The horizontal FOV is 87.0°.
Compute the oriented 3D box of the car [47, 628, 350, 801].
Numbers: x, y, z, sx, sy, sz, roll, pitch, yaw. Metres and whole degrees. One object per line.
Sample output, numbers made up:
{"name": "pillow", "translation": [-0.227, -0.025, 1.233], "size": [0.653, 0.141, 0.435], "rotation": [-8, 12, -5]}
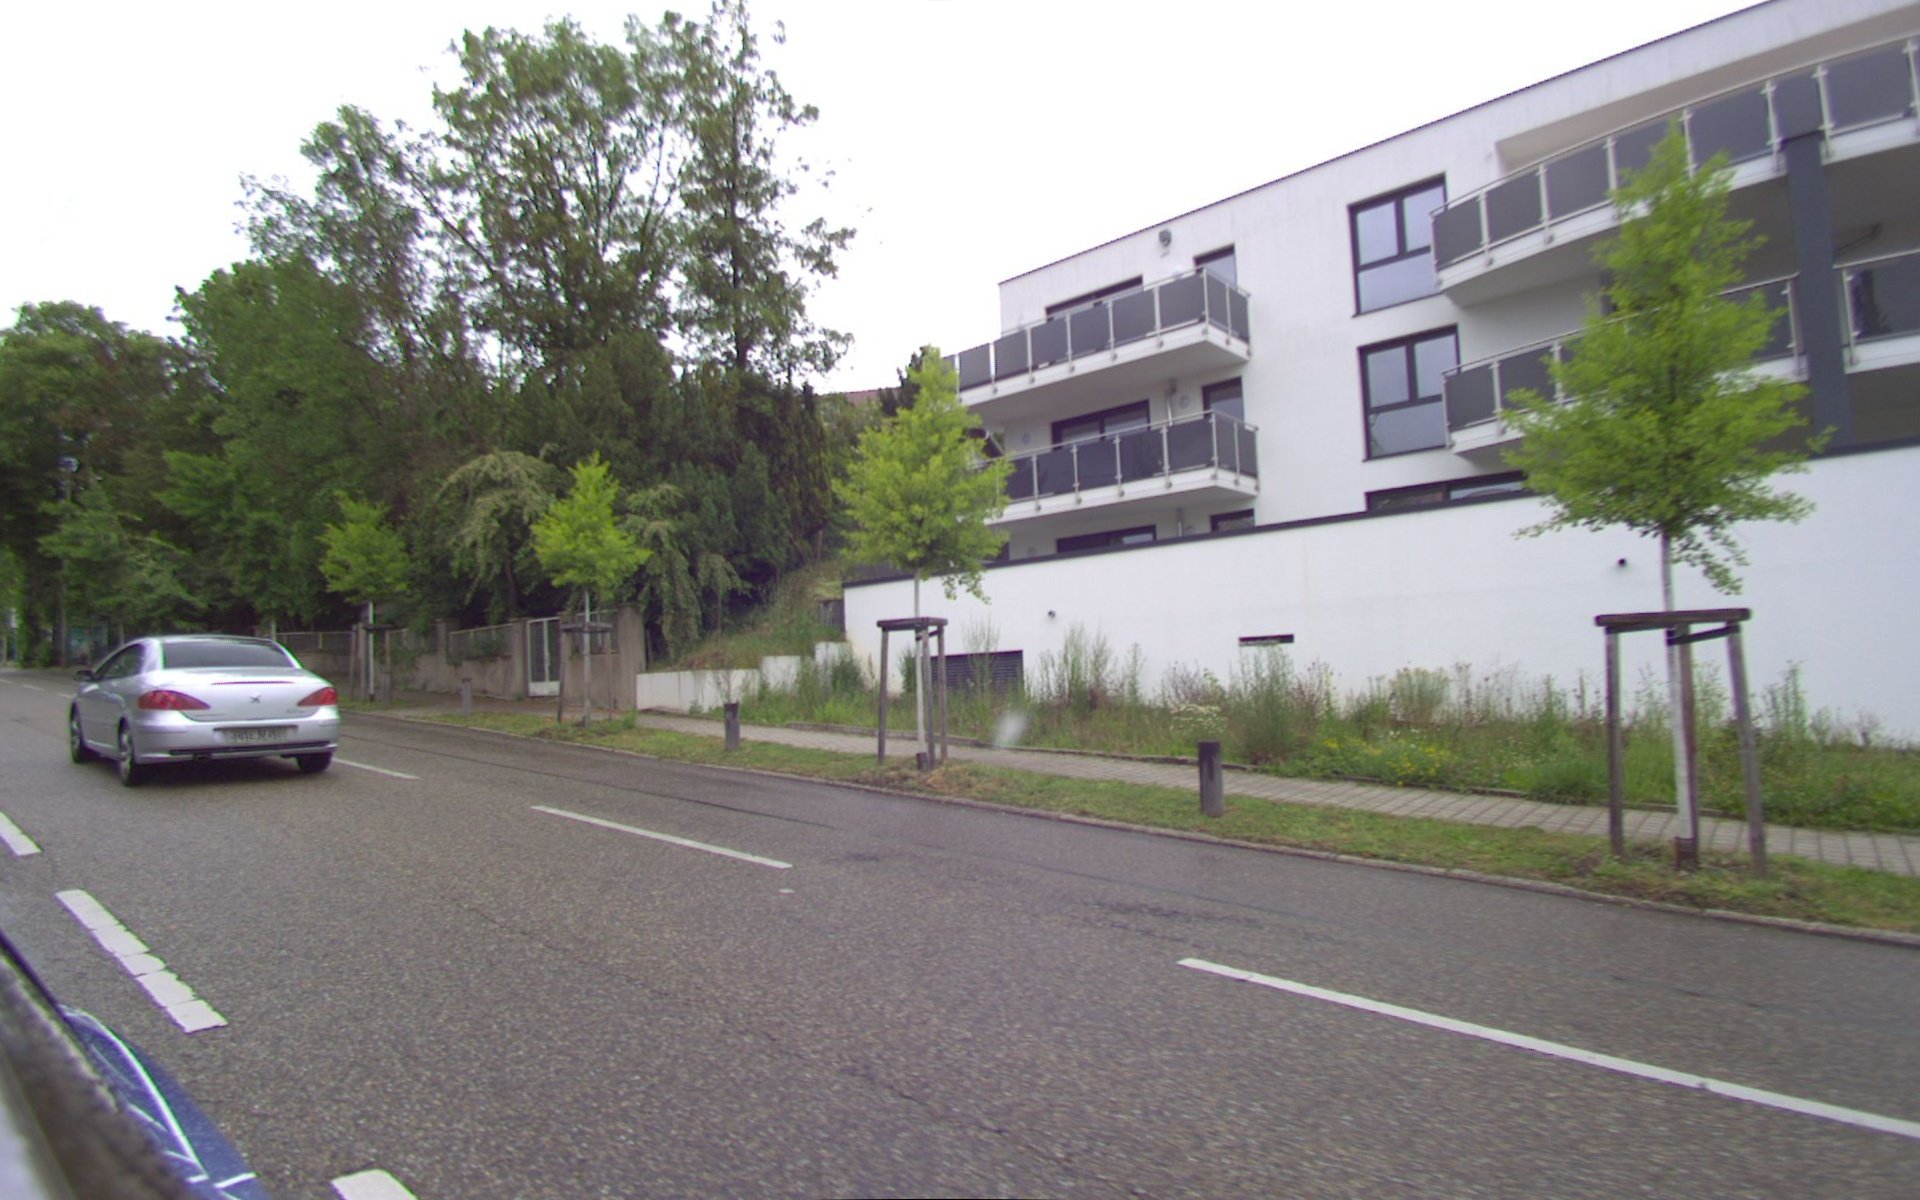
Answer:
{"name": "car", "translation": [-8.189, 1.072, 10.761], "size": [3.998, 1.497, 1.743], "rotation": [-2, -4, 41]}
